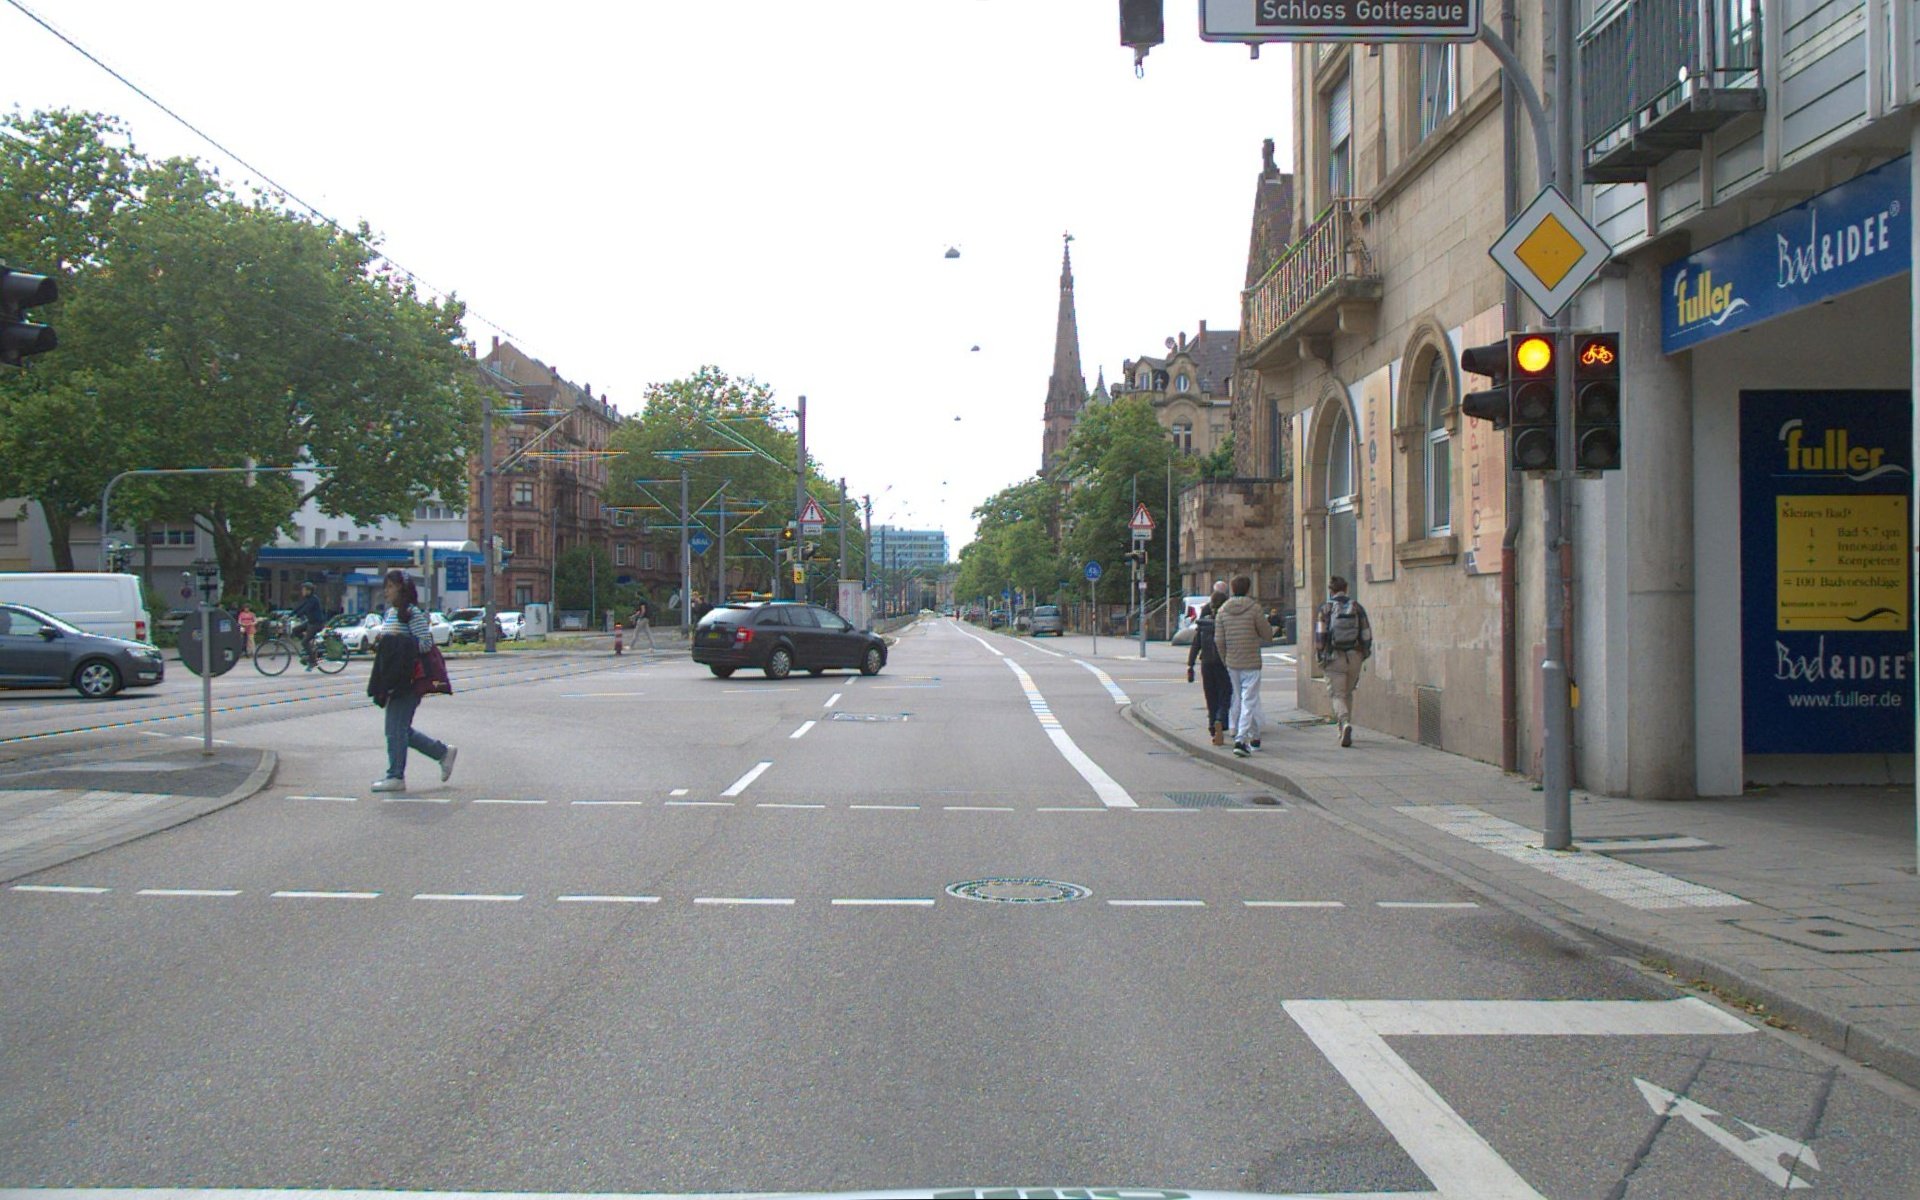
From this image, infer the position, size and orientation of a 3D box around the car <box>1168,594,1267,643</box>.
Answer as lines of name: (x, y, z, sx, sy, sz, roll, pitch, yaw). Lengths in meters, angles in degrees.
car: (10.633, 0.777, 68.471, 3.721, 1.937, 2.000, 1, -1, -1)

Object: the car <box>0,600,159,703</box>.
car: (-14.261, 0.745, 24.911, 3.930, 1.495, 1.826, 0, 0, -26)

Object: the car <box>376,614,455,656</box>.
car: (-21.391, 1.357, 65.082, 1.856, 1.585, 3.835, 1, -1, -1)

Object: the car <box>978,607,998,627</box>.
car: (2.914, 1.758, 172.508, 1.953, 2.049, 3.999, 1, -1, -1)

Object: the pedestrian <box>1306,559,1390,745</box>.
pedestrian: (3.945, 0.526, 16.900, 0.613, 1.809, 1.135, -3, -1, 6)

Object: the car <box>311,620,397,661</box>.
car: (-21.418, 1.399, 58.588, 1.601, 1.349, 3.999, 1, -1, -1)

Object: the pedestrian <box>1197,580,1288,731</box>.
pedestrian: (3.483, 0.667, 20.401, 0.900, 1.815, 0.645, 0, -1, 37)

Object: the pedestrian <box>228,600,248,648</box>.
pedestrian: (-27.085, 0.902, 62.088, 0.366, 1.815, 0.552, 1, -1, 23)

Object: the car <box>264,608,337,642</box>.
car: (-31.860, 1.192, 79.979, 1.953, 1.557, 3.999, 1, -1, -1)

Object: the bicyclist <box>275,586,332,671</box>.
bicyclist: (-13.434, 0.592, 33.873, 1.023, 1.713, 0.641, 1, -1, -21)

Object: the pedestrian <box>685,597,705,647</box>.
pedestrian: (-8.324, 0.680, 51.963, 0.535, 1.564, 0.465, 1, -1, -5)

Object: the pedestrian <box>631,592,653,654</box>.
pedestrian: (-9.492, 0.692, 49.437, 0.562, 1.826, 0.518, 1, -1, -5)

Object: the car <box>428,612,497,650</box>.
car: (-21.610, 1.325, 71.975, 1.856, 1.585, 3.835, 1, -1, -1)

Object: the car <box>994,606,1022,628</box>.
car: (3.744, 1.293, 128.525, 1.953, 1.635, 4.163, -2, 0, -1)

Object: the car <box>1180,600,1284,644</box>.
car: (10.681, 0.873, 65.061, 3.721, 1.629, 2.000, 1, -1, -1)

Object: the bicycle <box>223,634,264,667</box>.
bicycle: (-23.647, 1.658, 54.642, 0.511, 1.035, 1.936, 1, -1, -1)

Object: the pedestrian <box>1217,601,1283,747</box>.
pedestrian: (3.316, 0.835, 18.957, 0.685, 1.621, 0.831, 1, -1, 7)

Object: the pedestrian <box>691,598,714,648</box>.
pedestrian: (-7.999, 0.713, 51.372, 0.640, 1.564, 0.465, 1, -1, -5)

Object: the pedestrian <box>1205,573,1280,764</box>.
pedestrian: (2.843, 0.670, 16.581, 0.571, 1.845, 1.015, 1, -1, 19)

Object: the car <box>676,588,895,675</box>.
car: (-3.391, 0.616, 32.801, 1.778, 1.614, 4.319, 1, -1, 39)

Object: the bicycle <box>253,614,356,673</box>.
bicycle: (-13.427, 0.892, 33.910, 1.910, 1.155, 0.731, 1, -1, -22)

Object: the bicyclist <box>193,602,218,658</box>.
bicyclist: (-24.610, 0.977, 53.956, 0.522, 1.815, 0.470, 1, -1, 19)

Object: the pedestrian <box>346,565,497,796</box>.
pedestrian: (-4.156, 0.601, 12.777, 0.659, 1.709, 0.864, 0, -1, 38)

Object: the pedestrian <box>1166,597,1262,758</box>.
pedestrian: (2.751, 0.818, 17.854, 0.616, 1.681, 0.993, 0, -1, 36)

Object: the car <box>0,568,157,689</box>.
car: (-16.447, 0.470, 28.323, 4.805, 2.001, 1.972, 1, -1, -27)

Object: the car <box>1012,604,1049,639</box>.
car: (4.209, 1.282, 99.719, 1.953, 2.049, 3.999, 1, -1, -1)

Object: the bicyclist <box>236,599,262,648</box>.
bicyclist: (-23.628, 0.777, 54.953, 0.576, 1.595, 0.618, 1, -1, -1)

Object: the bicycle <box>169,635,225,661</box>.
bicycle: (-24.921, 1.557, 54.014, 1.645, 0.786, 0.656, 1, -1, 20)

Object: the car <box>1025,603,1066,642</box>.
car: (4.639, 1.210, 90.152, 1.953, 2.049, 3.999, 1, -1, -1)

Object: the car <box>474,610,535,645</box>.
car: (-21.665, 1.297, 78.855, 1.856, 1.585, 3.835, 1, -1, -1)
